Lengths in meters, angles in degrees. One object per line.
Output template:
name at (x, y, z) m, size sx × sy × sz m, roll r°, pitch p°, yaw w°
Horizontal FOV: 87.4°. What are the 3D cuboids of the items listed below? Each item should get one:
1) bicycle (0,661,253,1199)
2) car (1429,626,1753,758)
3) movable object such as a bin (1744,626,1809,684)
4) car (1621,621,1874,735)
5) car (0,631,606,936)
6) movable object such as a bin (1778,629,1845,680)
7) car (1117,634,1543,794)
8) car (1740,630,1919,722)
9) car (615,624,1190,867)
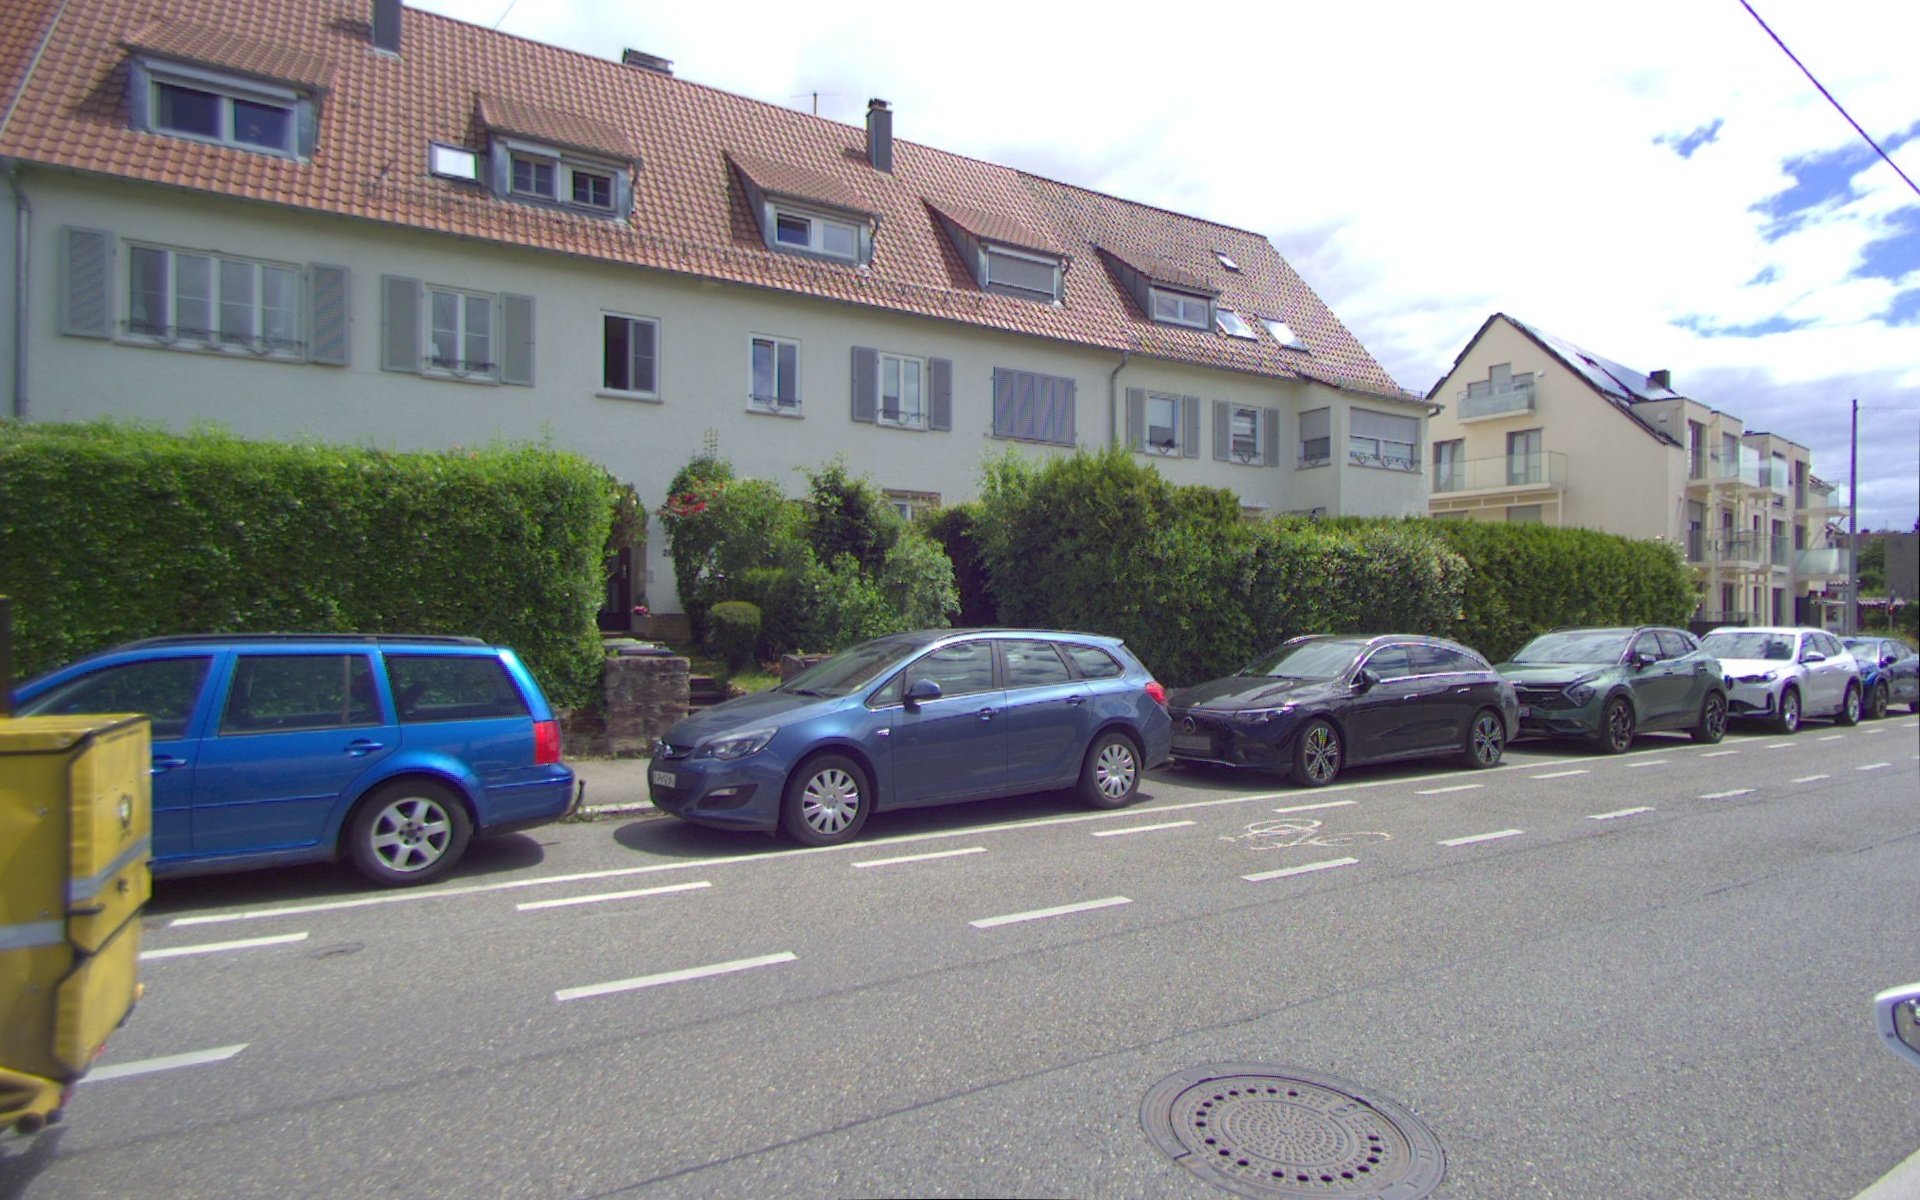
bicycle at (-3.090, 0.811, 2.005) m, size 2.628 × 1.319 × 0.860 m, roll 1°, pitch -1°, yaw -28°
car at (8.986, 1.193, 14.221) m, size 4.634 × 1.584 × 1.984 m, roll 1°, pitch -1°, yaw -30°
movable object such as a bin at (21.828, 1.445, 26.848) m, size 1.201 × 1.501 × 1.059 m, roll 1°, pitch -1°, yaw -34°
car at (13.306, 1.223, 16.921) m, size 4.467 × 1.672 × 1.983 m, roll 2°, pitch -1°, yaw -32°
car at (-4.546, 0.918, 5.894) m, size 4.390 × 1.436 × 1.768 m, roll 1°, pitch -1°, yaw -32°
movable object such as a bin at (23.049, 1.472, 27.210) m, size 1.200 × 1.330 × 1.060 m, roll 1°, pitch -1°, yaw -30°
car at (4.198, 1.125, 11.215) m, size 4.634 × 1.427 × 1.984 m, roll 1°, pitch -1°, yaw -30°
car at (17.536, 1.419, 19.915) m, size 4.442 × 1.608 × 1.982 m, roll 2°, pitch -2°, yaw -34°
car at (-0.315, 0.983, 8.335) m, size 4.519 × 1.511 × 1.767 m, roll 2°, pitch -2°, yaw -34°
